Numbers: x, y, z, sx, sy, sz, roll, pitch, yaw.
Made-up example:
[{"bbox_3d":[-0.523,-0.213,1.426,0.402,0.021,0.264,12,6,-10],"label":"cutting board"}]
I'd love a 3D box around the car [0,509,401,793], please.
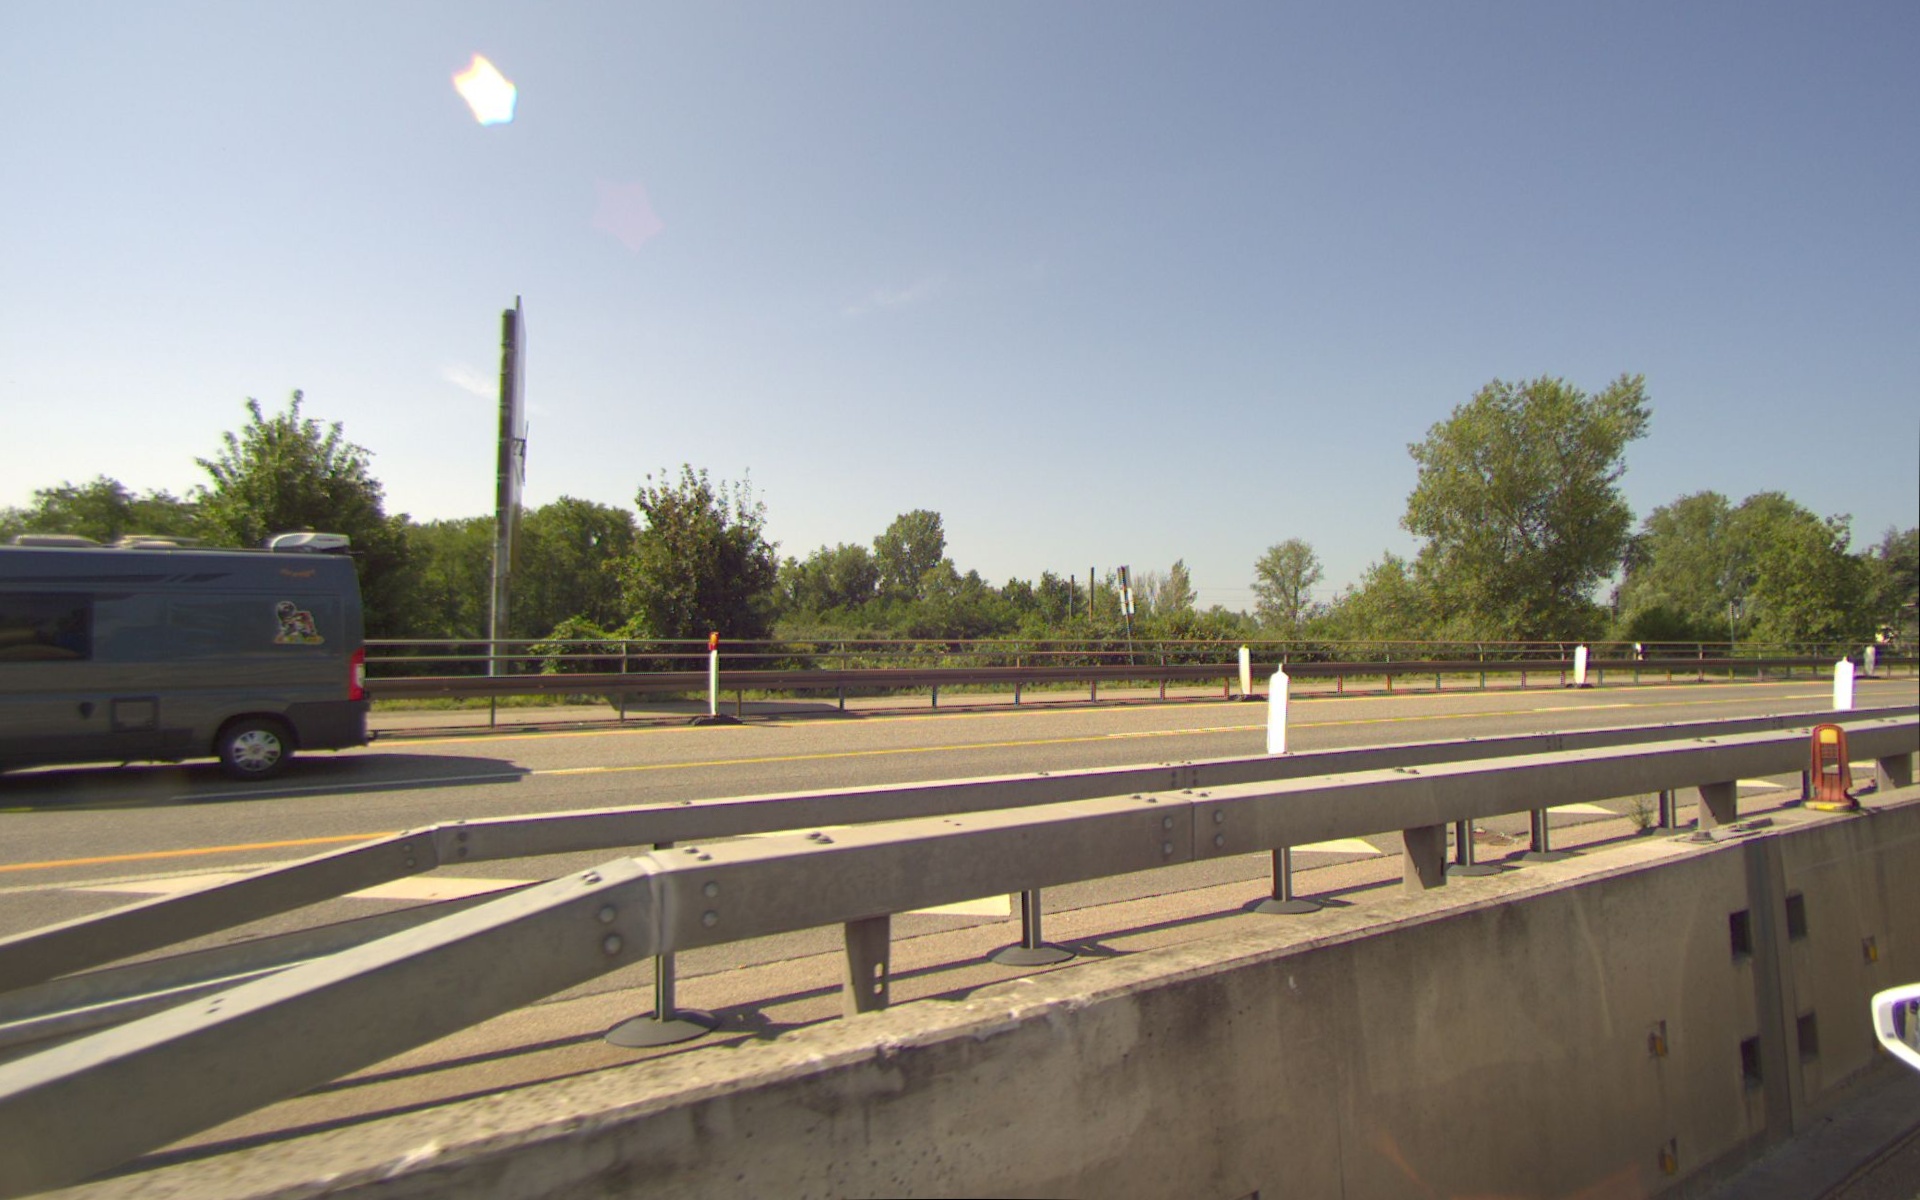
[{"bbox_3d":[-9.200,0.518,10.750,5.485,2.695,2.134,2,-2,-33],"label":"car"}]
